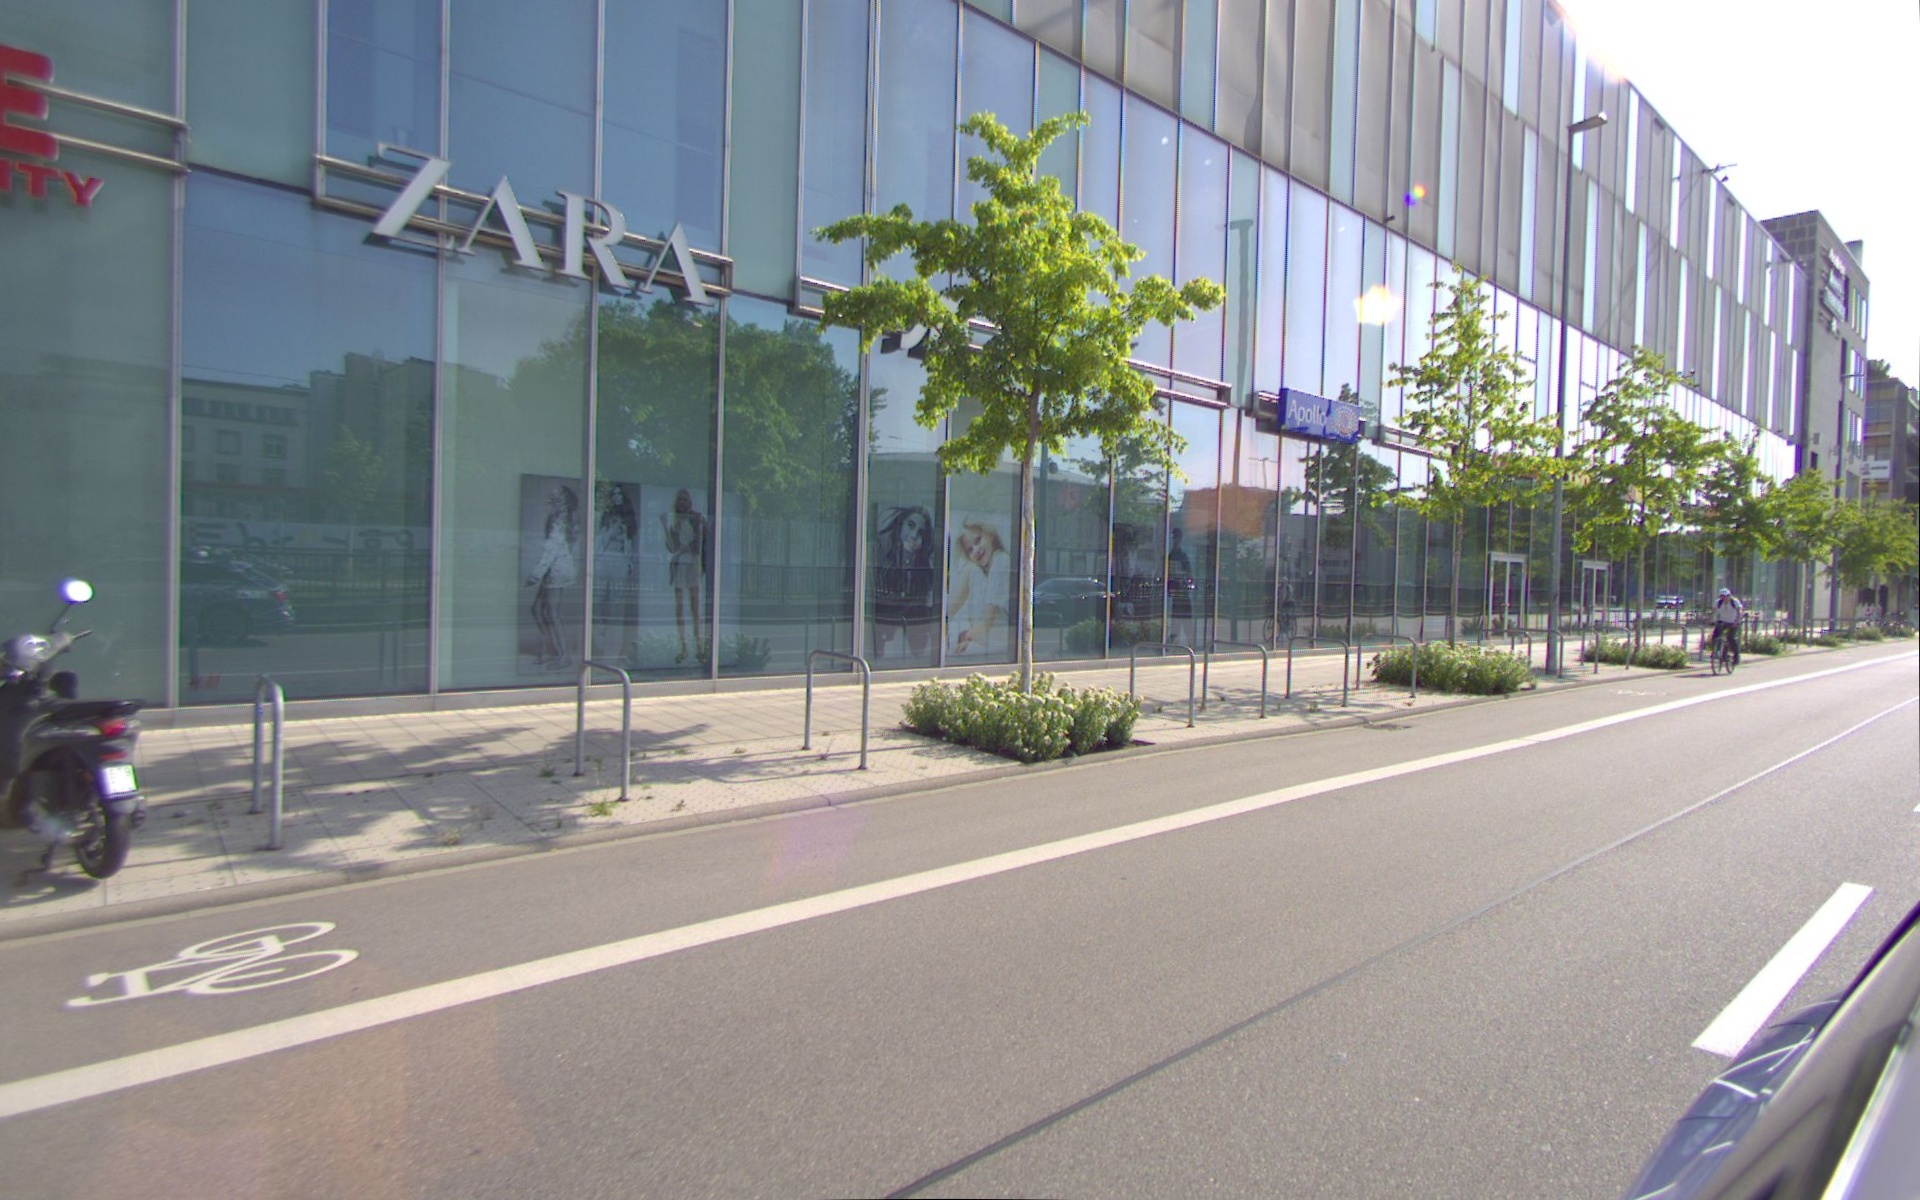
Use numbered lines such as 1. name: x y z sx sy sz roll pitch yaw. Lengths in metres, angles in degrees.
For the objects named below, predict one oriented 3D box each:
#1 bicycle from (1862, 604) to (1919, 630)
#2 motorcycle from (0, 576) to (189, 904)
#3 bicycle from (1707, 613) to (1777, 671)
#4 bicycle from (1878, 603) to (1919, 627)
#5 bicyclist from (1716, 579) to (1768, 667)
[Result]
1. bicycle: 43.417 0.801 47.230 0.481 1.123 1.883 1 1 -38
2. motorcycle: -4.717 0.583 5.135 1.966 1.366 0.855 3 2 40
3. bicycle: 16.347 0.848 21.141 2.013 1.131 0.663 1 1 -38
4. bicycle: 46.549 0.741 49.883 0.674 1.127 1.844 1 0 -38
5. bicyclist: 16.249 0.464 21.031 0.755 1.770 0.653 1 1 -38
